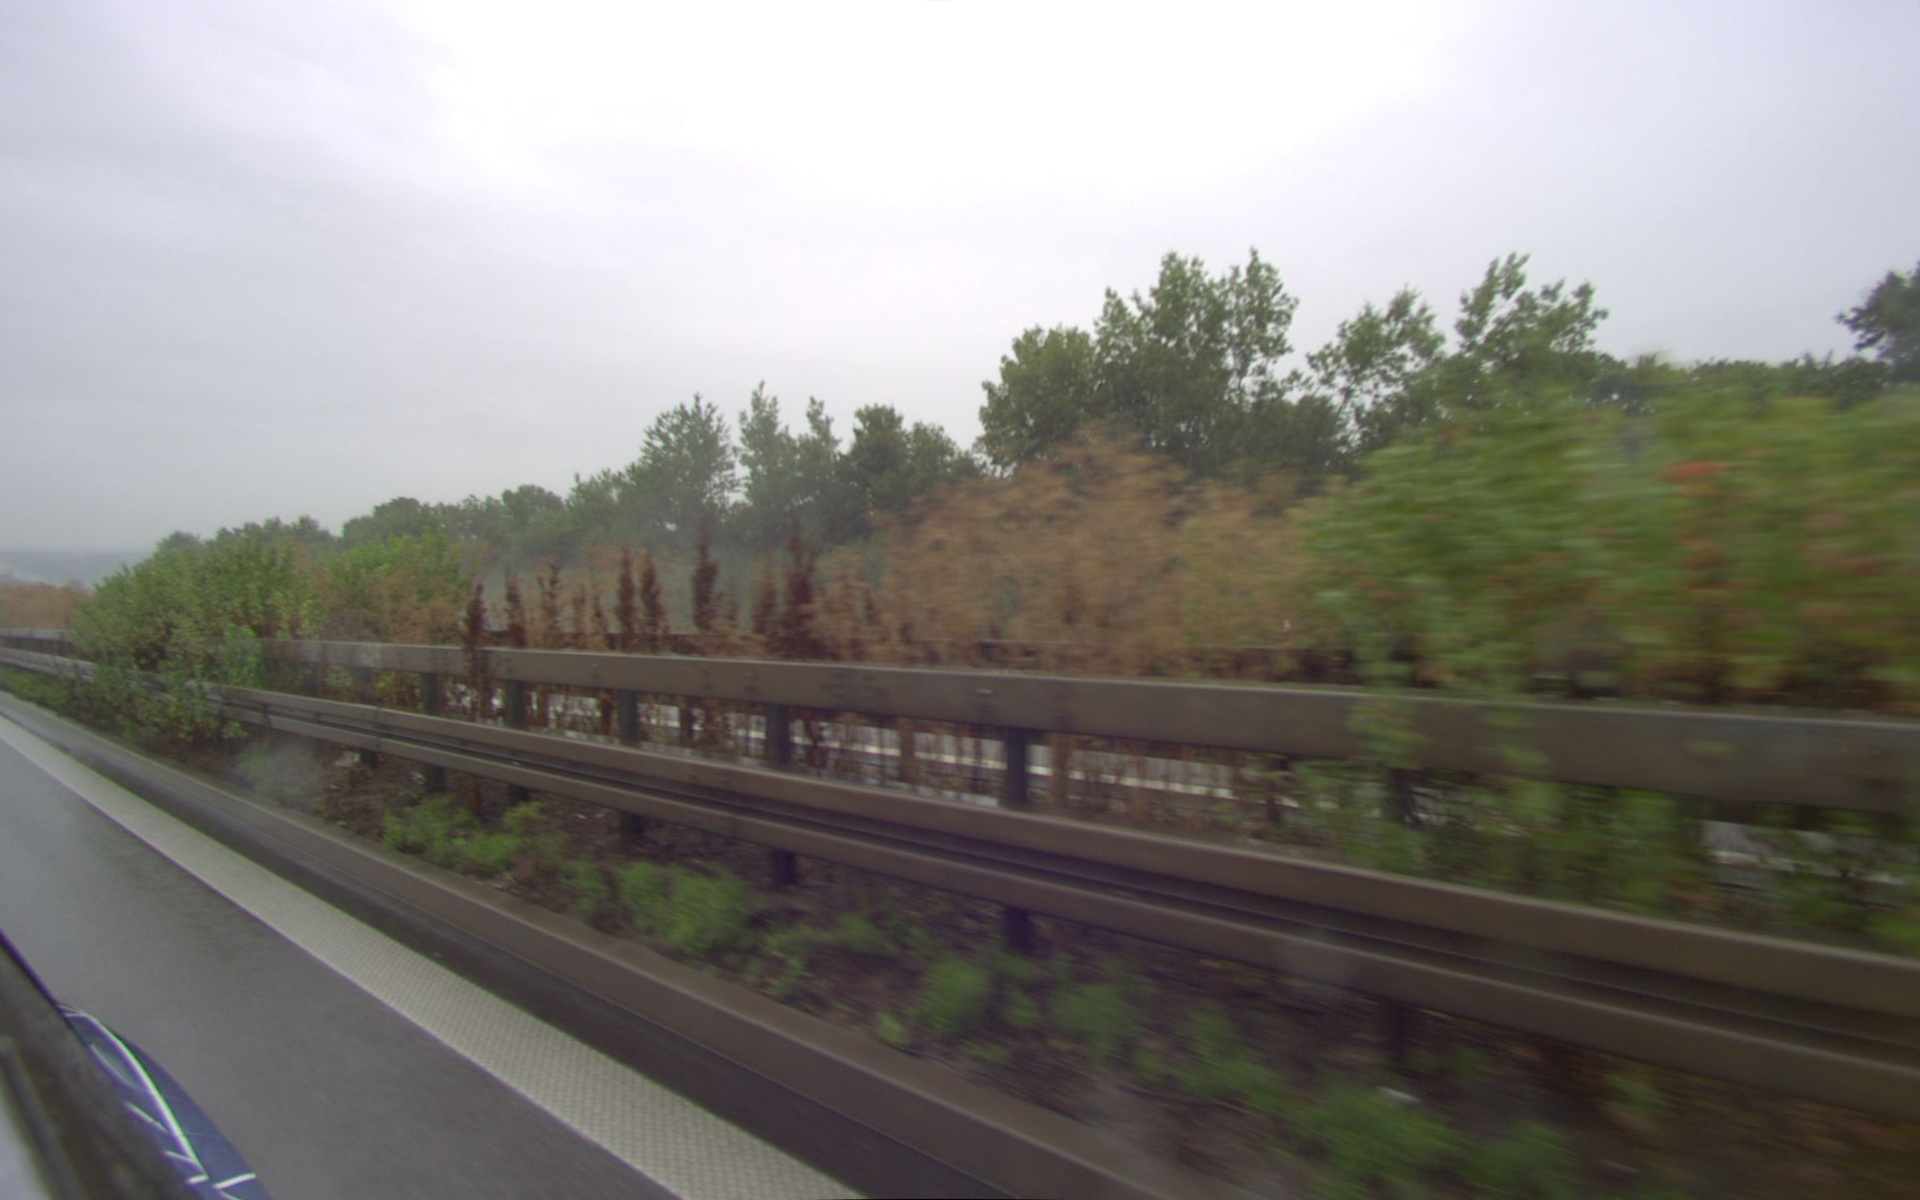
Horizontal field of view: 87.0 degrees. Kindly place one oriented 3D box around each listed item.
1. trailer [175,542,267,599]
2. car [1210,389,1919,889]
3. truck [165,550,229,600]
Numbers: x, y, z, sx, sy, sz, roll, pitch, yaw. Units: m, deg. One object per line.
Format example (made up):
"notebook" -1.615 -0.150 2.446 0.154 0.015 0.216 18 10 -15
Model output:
"trailer" -48.799 -1.798 66.636 11.835 3.364 2.622 -1 0 42
"car" 5.608 0.362 9.435 6.049 3.524 1.973 -3 -2 40
"truck" -53.541 -1.687 71.010 5.529 3.364 2.620 -1 0 42
